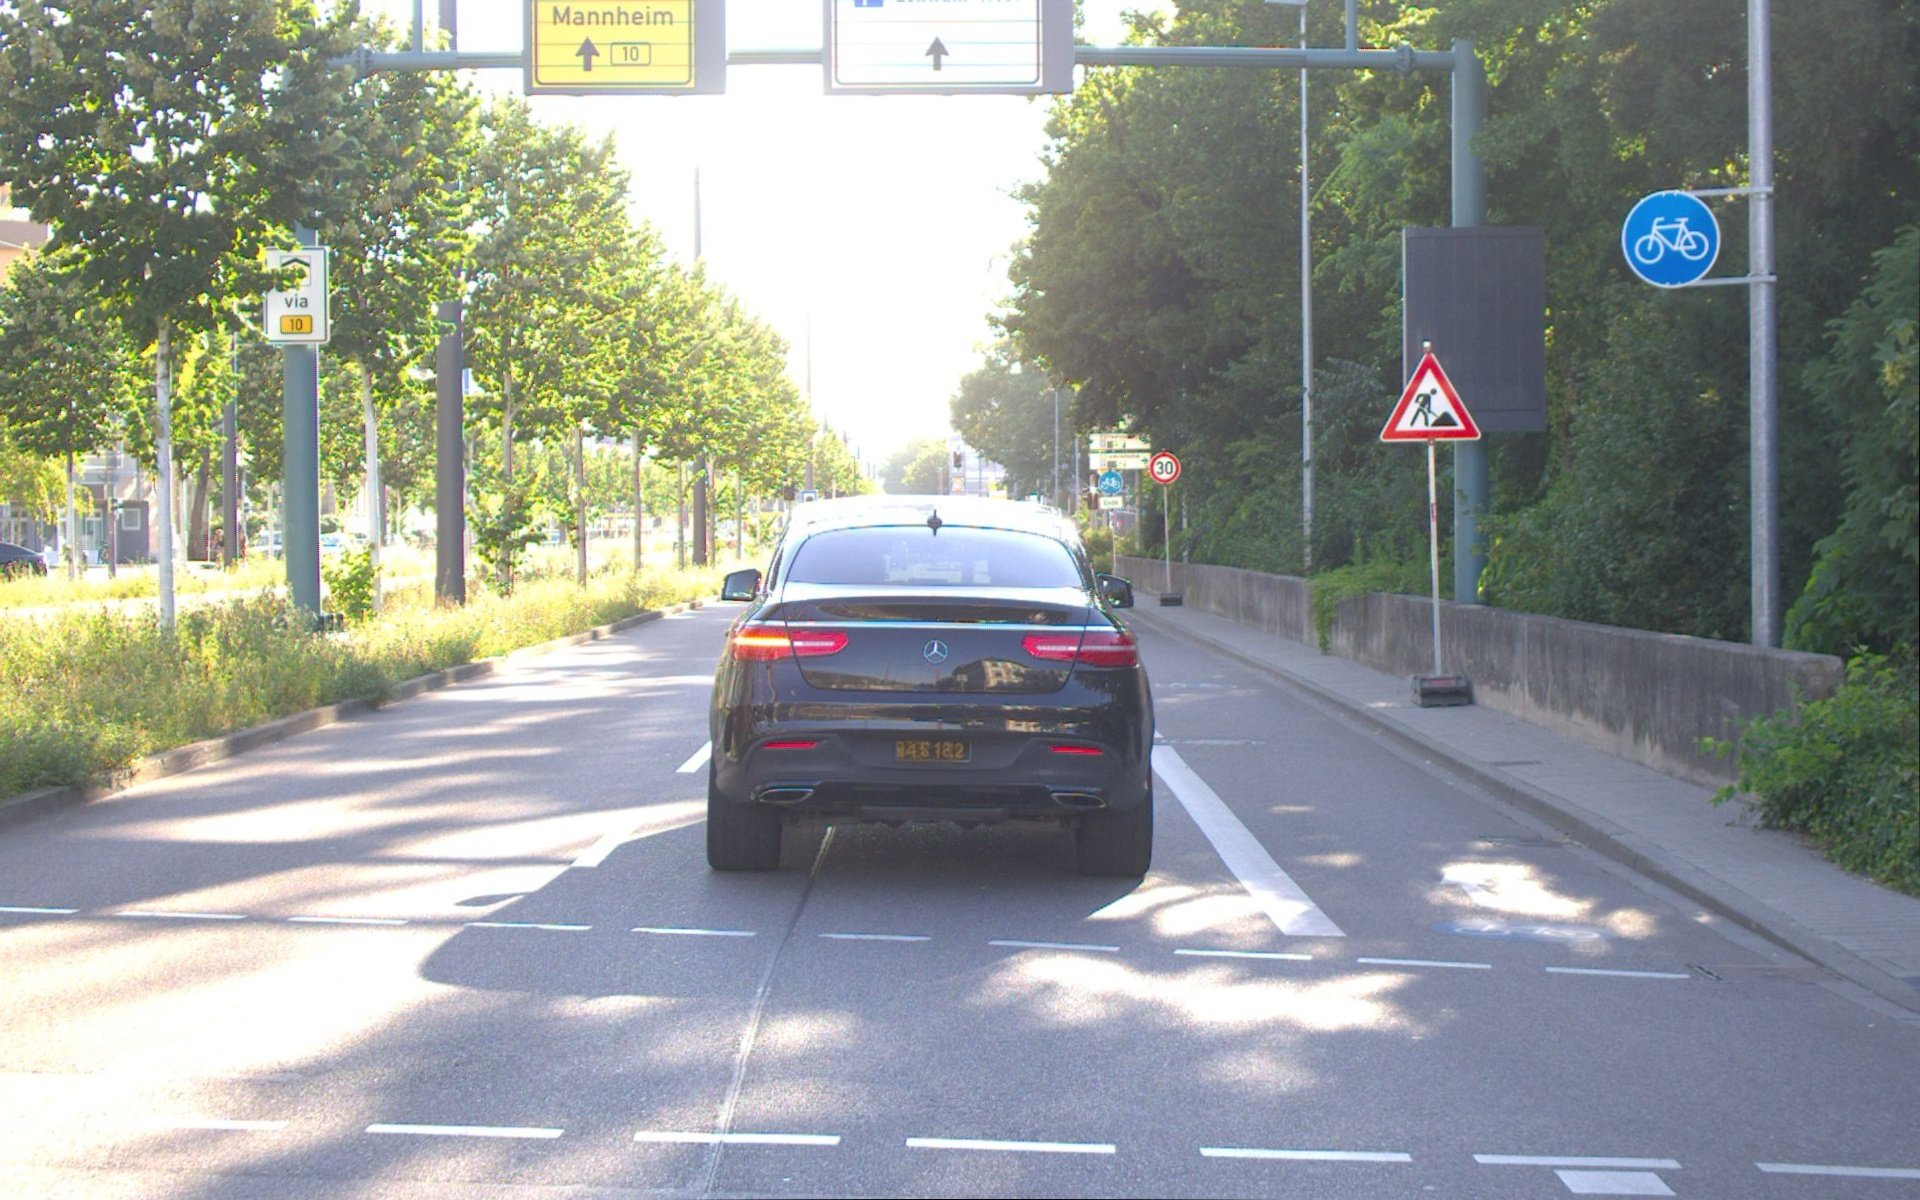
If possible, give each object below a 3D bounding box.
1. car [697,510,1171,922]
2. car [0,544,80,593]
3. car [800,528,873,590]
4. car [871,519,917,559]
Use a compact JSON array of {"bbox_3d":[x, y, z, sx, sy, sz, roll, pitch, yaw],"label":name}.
[{"bbox_3d":[-0.200,0.449,16.587,1.993,1.728,4.001,1,1,-3],"label":"car"},{"bbox_3d":[-30.802,-1.022,111.350,3.989,1.557,1.999,0,1,-42],"label":"car"},{"bbox_3d":[-3.310,-1.118,92.665,1.885,1.575,4.001,1,2,-1],"label":"car"},{"bbox_3d":[-2.739,-2.550,142.866,1.885,1.575,4.001,1,2,-1],"label":"car"}]
